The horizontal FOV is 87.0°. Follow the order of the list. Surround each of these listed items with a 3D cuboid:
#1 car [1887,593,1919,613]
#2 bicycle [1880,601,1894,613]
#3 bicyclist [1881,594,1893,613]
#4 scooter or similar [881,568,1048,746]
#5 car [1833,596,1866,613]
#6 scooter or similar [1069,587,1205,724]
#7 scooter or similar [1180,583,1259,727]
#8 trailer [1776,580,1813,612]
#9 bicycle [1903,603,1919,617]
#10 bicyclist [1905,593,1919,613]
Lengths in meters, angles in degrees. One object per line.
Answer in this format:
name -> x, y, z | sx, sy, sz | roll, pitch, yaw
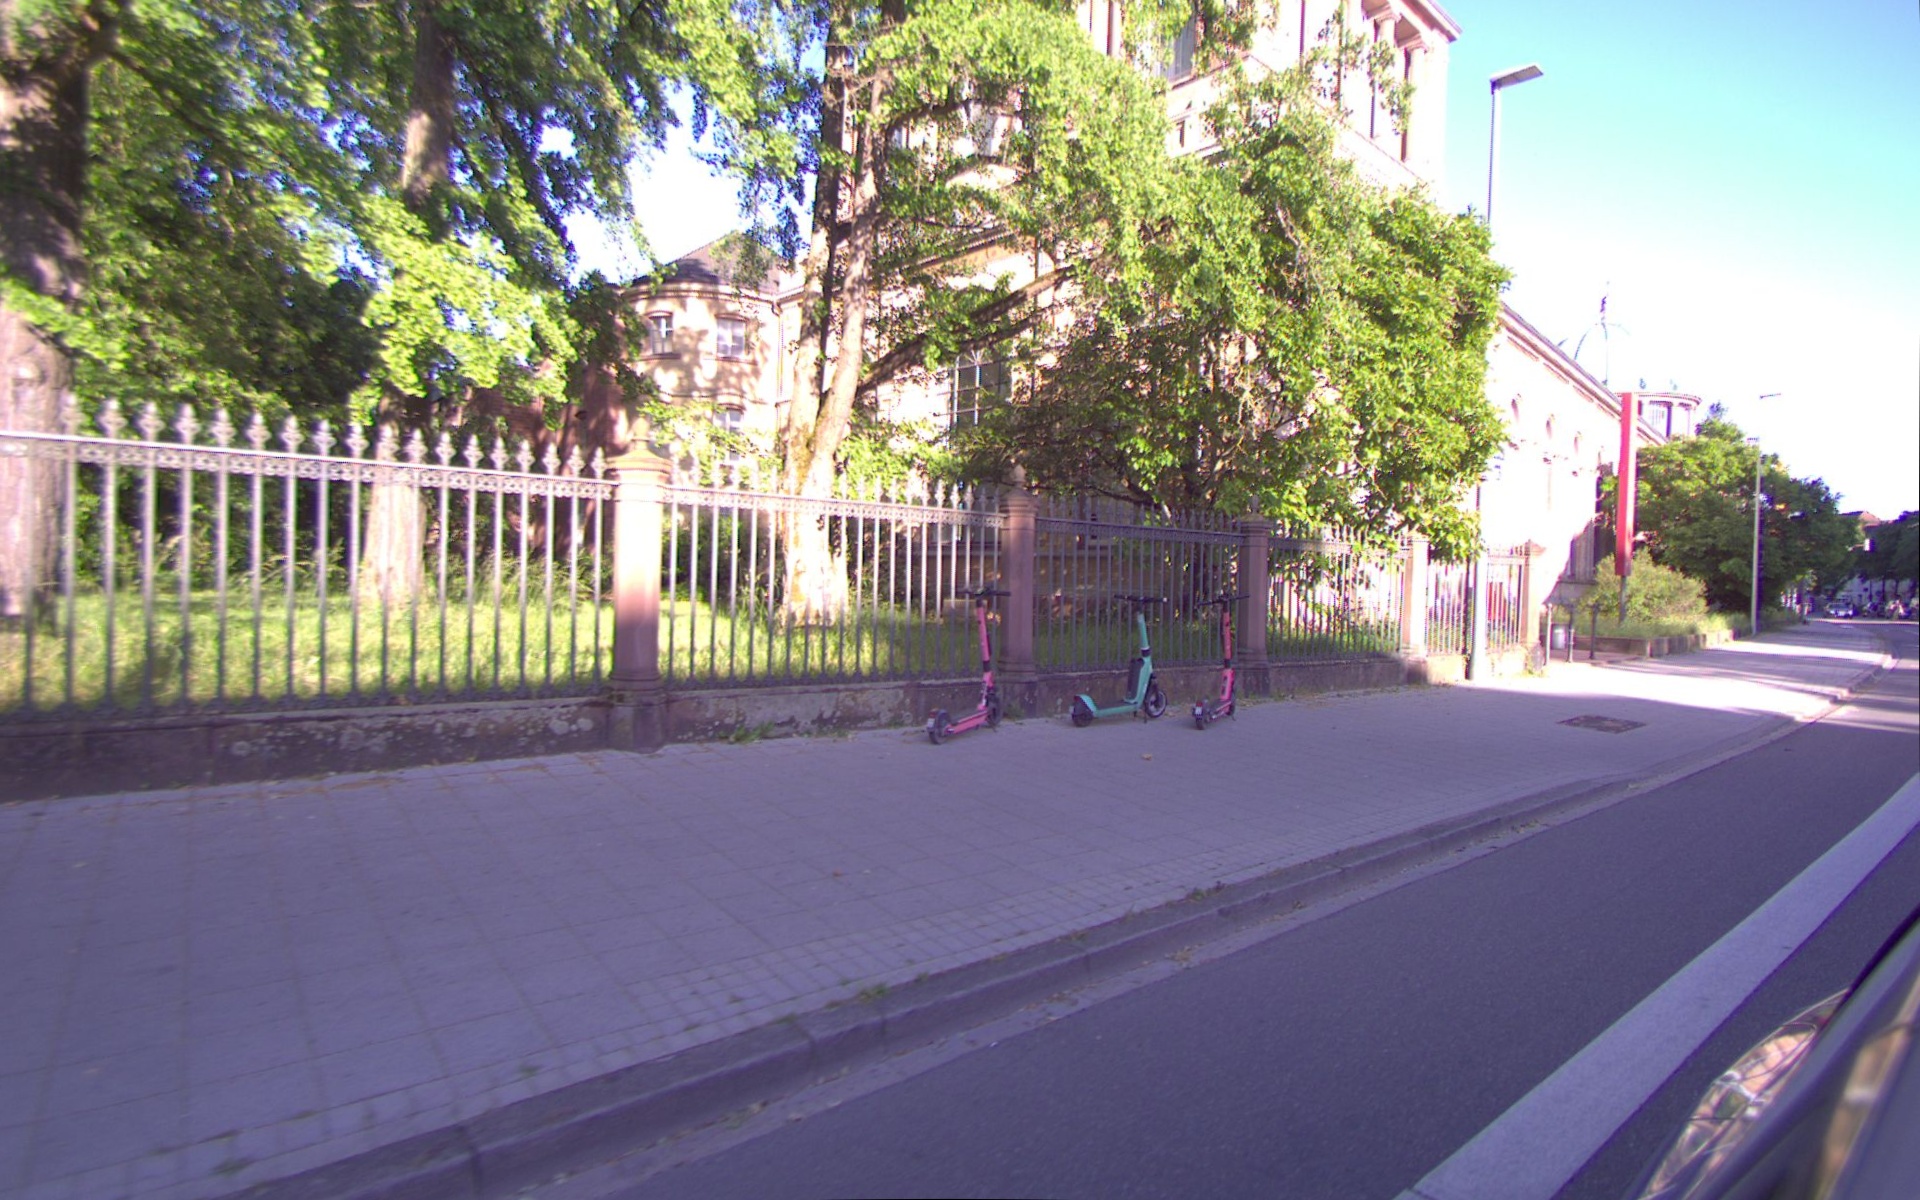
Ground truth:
car -> 85.375, 0.262, 91.108 | 1.983, 1.771, 4.693 | 3, 2, 32
bicycle -> 83.097, 0.618, 90.736 | 0.667, 1.086, 1.730 | 1, 1, 36
bicyclist -> 83.093, 0.298, 90.725 | 0.670, 1.673, 0.876 | 1, 1, 35
scooter or similar -> 0.077, 0.396, 8.058 | 0.546, 1.258, 1.539 | 3, 2, 33
car -> 79.755, 0.371, 90.744 | 1.543, 1.311, 3.597 | 6, 4, 31
scooter or similar -> 1.617, 0.463, 9.131 | 1.314, 1.136, 0.481 | 0, 3, -43
scooter or similar -> 2.435, 0.476, 9.439 | 0.296, 1.255, 1.147 | 3, 2, 34
trailer -> 72.618, -0.359, 88.105 | 2.075, 2.559, 4.433 | 5, 3, 36
bicycle -> 77.862, 0.816, 82.745 | 0.827, 1.157, 1.943 | 2, 1, 37
bicyclist -> 77.938, 0.218, 82.794 | 0.801, 1.628, 0.814 | 3, 2, 38
